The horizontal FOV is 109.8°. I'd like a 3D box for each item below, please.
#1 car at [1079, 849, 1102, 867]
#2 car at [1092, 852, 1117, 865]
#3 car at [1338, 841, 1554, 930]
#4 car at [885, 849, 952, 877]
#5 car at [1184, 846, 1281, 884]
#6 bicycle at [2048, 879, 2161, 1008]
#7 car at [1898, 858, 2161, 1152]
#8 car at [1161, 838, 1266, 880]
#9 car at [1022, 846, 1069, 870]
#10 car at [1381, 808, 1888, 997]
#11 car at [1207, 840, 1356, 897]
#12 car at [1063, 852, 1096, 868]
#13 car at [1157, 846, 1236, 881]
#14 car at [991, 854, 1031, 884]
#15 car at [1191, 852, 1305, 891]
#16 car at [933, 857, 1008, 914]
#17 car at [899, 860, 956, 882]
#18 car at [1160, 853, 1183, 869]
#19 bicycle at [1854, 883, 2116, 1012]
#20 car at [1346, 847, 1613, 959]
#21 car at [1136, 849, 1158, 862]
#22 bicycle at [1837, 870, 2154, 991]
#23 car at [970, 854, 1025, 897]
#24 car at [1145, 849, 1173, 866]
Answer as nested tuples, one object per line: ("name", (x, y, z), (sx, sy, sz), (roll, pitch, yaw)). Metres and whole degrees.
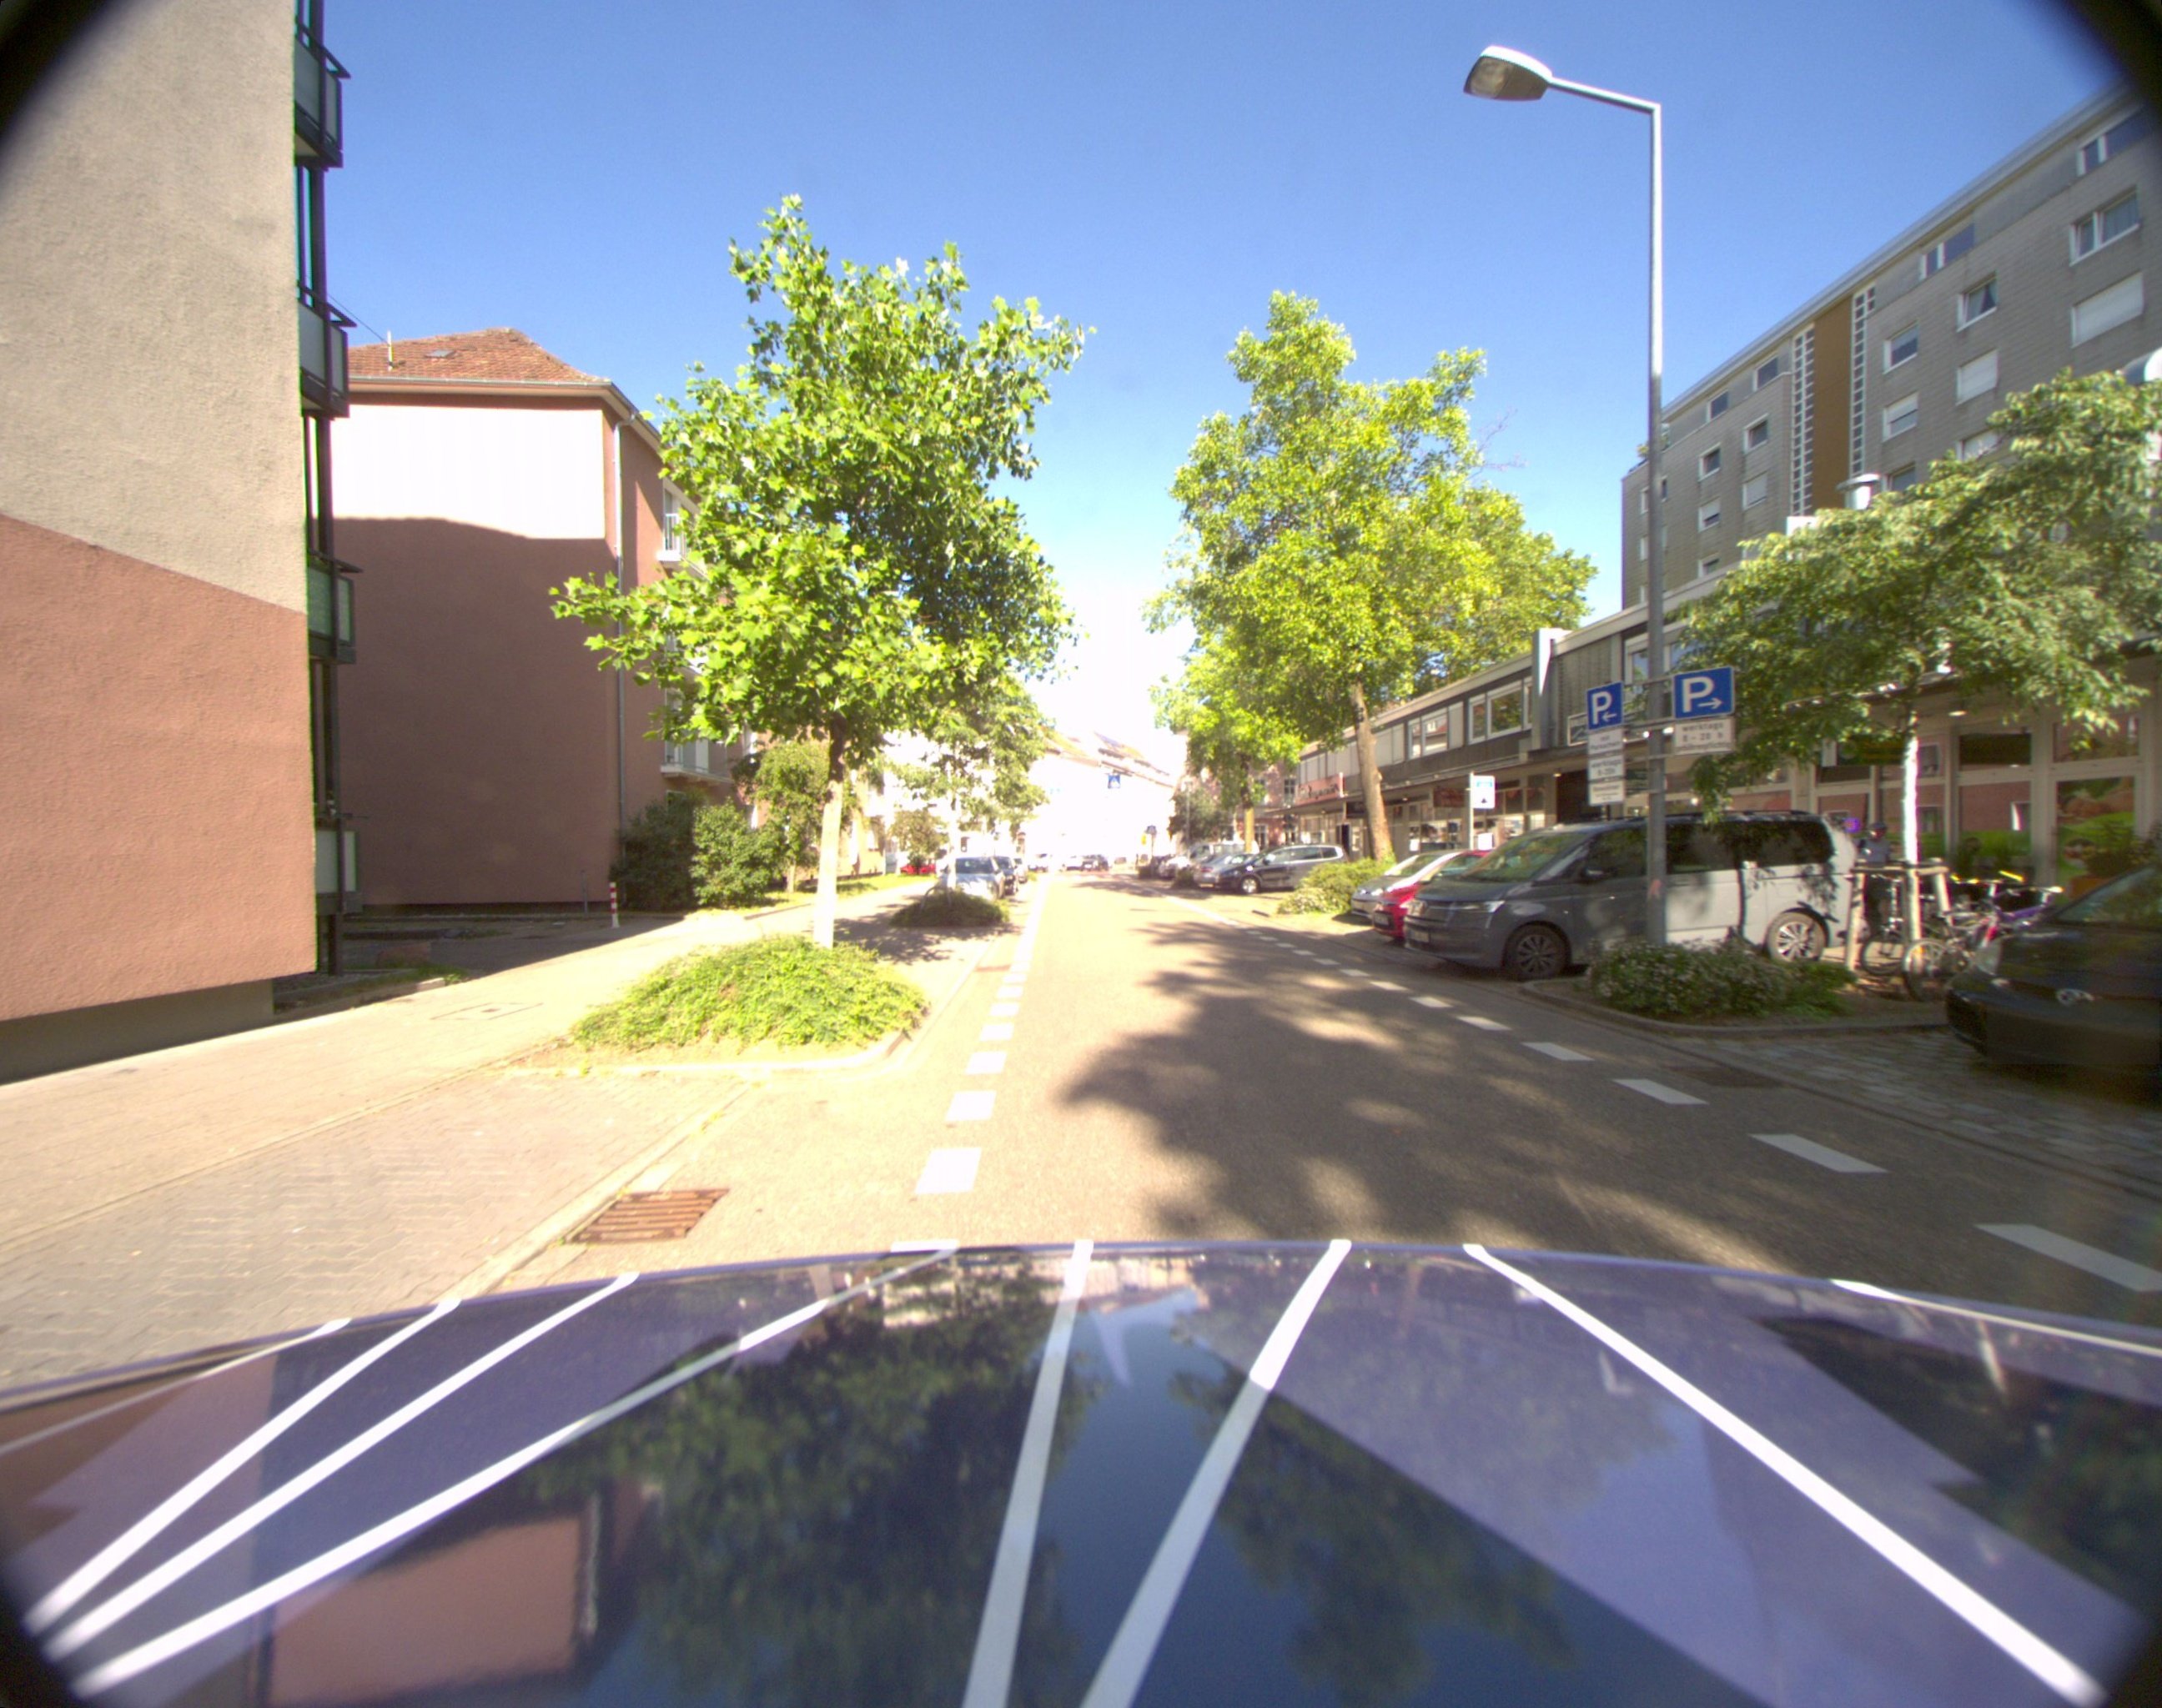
("car", (0.863, 0.340, 65.040), (1.611, 1.444, 3.296), (0, 1, 7))
("car", (2.511, 0.456, 80.139), (1.632, 1.412, 3.299), (0, 1, 21))
("car", (7.373, 0.604, 15.558), (3.597, 1.552, 1.672), (-3, 1, -4))
("car", (-12.409, 0.640, 58.265), (4.757, 2.002, 1.999), (-1, 1, -6))
("car", (6.937, 0.475, 34.944), (3.998, 1.413, 1.736), (-4, 1, -4))
("bicycle", (9.819, 0.754, 6.693), (1.867, 1.033, 0.615), (-1, 1, -2))
("car", (7.440, 0.760, 4.496), (3.677, 1.442, 1.612), (-3, 1, -5))
("car", (6.857, 0.262, 39.582), (4.996, 1.958, 1.909), (-2, 1, -4))
("car", (-2.968, 0.346, 64.597), (1.909, 1.924, 4.817), (-1, 1, 24))
("car", (6.710, 0.538, 9.594), (5.044, 1.927, 1.872), (-3, 1, -2))
("car", (7.105, 0.484, 27.237), (4.782, 1.767, 1.873), (-2, 1, -4))
("car", (-0.130, 0.574, 73.164), (2.131, 1.487, 3.950), (-1, 0, 17))
("car", (6.365, 0.512, 42.144), (3.998, 1.781, 1.757), (-1, 1, -3))
("car", (-3.562, 0.717, 39.227), (1.736, 1.420, 3.999), (-1, 0, -1))
("car", (6.477, 0.645, 29.732), (3.998, 1.390, 1.759), (-1, 1, -4))
("car", (-3.174, 0.866, 22.533), (1.720, 1.445, 3.998), (0, 1, -1))
("car", (-10.674, 1.154, 52.990), (3.648, 1.394, 1.568), (-1, 1, -2))
("car", (9.651, 0.728, 80.805), (1.505, 1.652, 4.006), (0, 1, 22))
("bicycle", (8.213, 0.819, 6.932), (1.868, 1.033, 0.614), (-1, 1, -7))
("car", (6.499, 0.741, 12.602), (3.568, 1.545, 1.660), (-3, 1, -7))
("car", (7.682, 0.206, 88.239), (1.632, 1.413, 3.299), (-1, 1, 21))
("bicycle", (9.472, 0.773, 7.952), (2.241, 1.161, 0.801), (-1, 1, 4))
("car", (-3.090, 0.749, 28.853), (1.662, 1.473, 4.310), (-1, 0, -1))
("car", (7.818, 0.369, 76.073), (1.670, 1.628, 4.054), (-1, 1, 22))
